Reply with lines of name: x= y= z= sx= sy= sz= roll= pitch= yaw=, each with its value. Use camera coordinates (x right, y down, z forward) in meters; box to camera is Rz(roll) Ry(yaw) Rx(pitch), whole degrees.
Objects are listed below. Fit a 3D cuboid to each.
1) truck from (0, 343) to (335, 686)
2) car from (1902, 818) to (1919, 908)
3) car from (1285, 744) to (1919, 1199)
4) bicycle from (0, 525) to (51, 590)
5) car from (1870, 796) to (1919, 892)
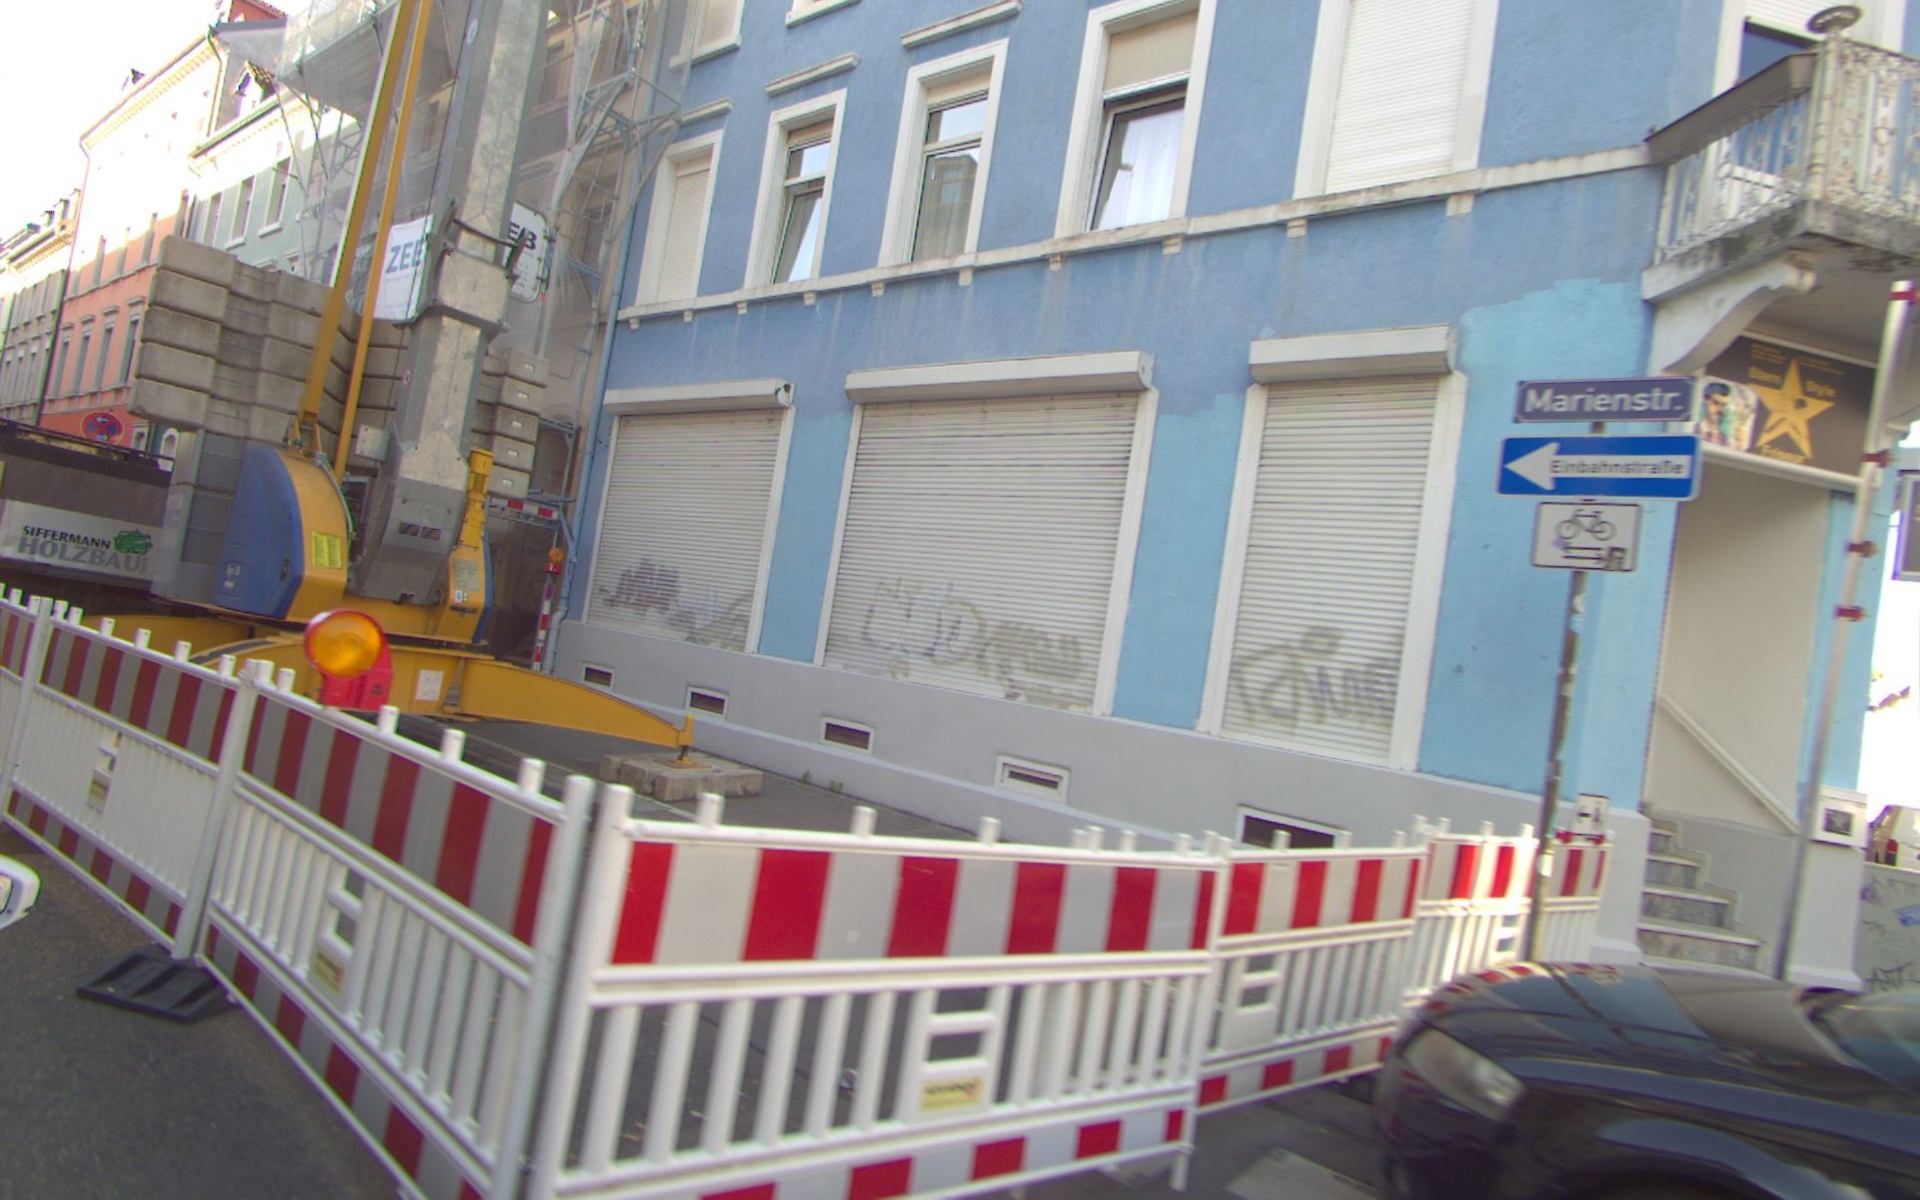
truck: x=-10.784 y=-0.950 z=12.306 sx=7.284 sy=2.841 sz=2.666 roll=5 pitch=-6 yaw=38
car: x=16.787 y=4.494 z=16.181 sx=1.730 sy=1.491 sz=3.977 roll=8 pitch=-4 yaw=37
car: x=3.005 y=1.406 z=2.155 sx=3.973 sy=1.448 sz=1.775 roll=6 pitch=-5 yaw=37
bicycle: x=-18.792 y=-0.936 z=19.243 sx=0.633 sy=1.121 sz=1.857 roll=7 pitch=-6 yaw=31
car: x=22.586 y=5.744 z=23.292 sx=1.809 sy=1.966 sz=4.543 roll=7 pitch=-5 yaw=40
